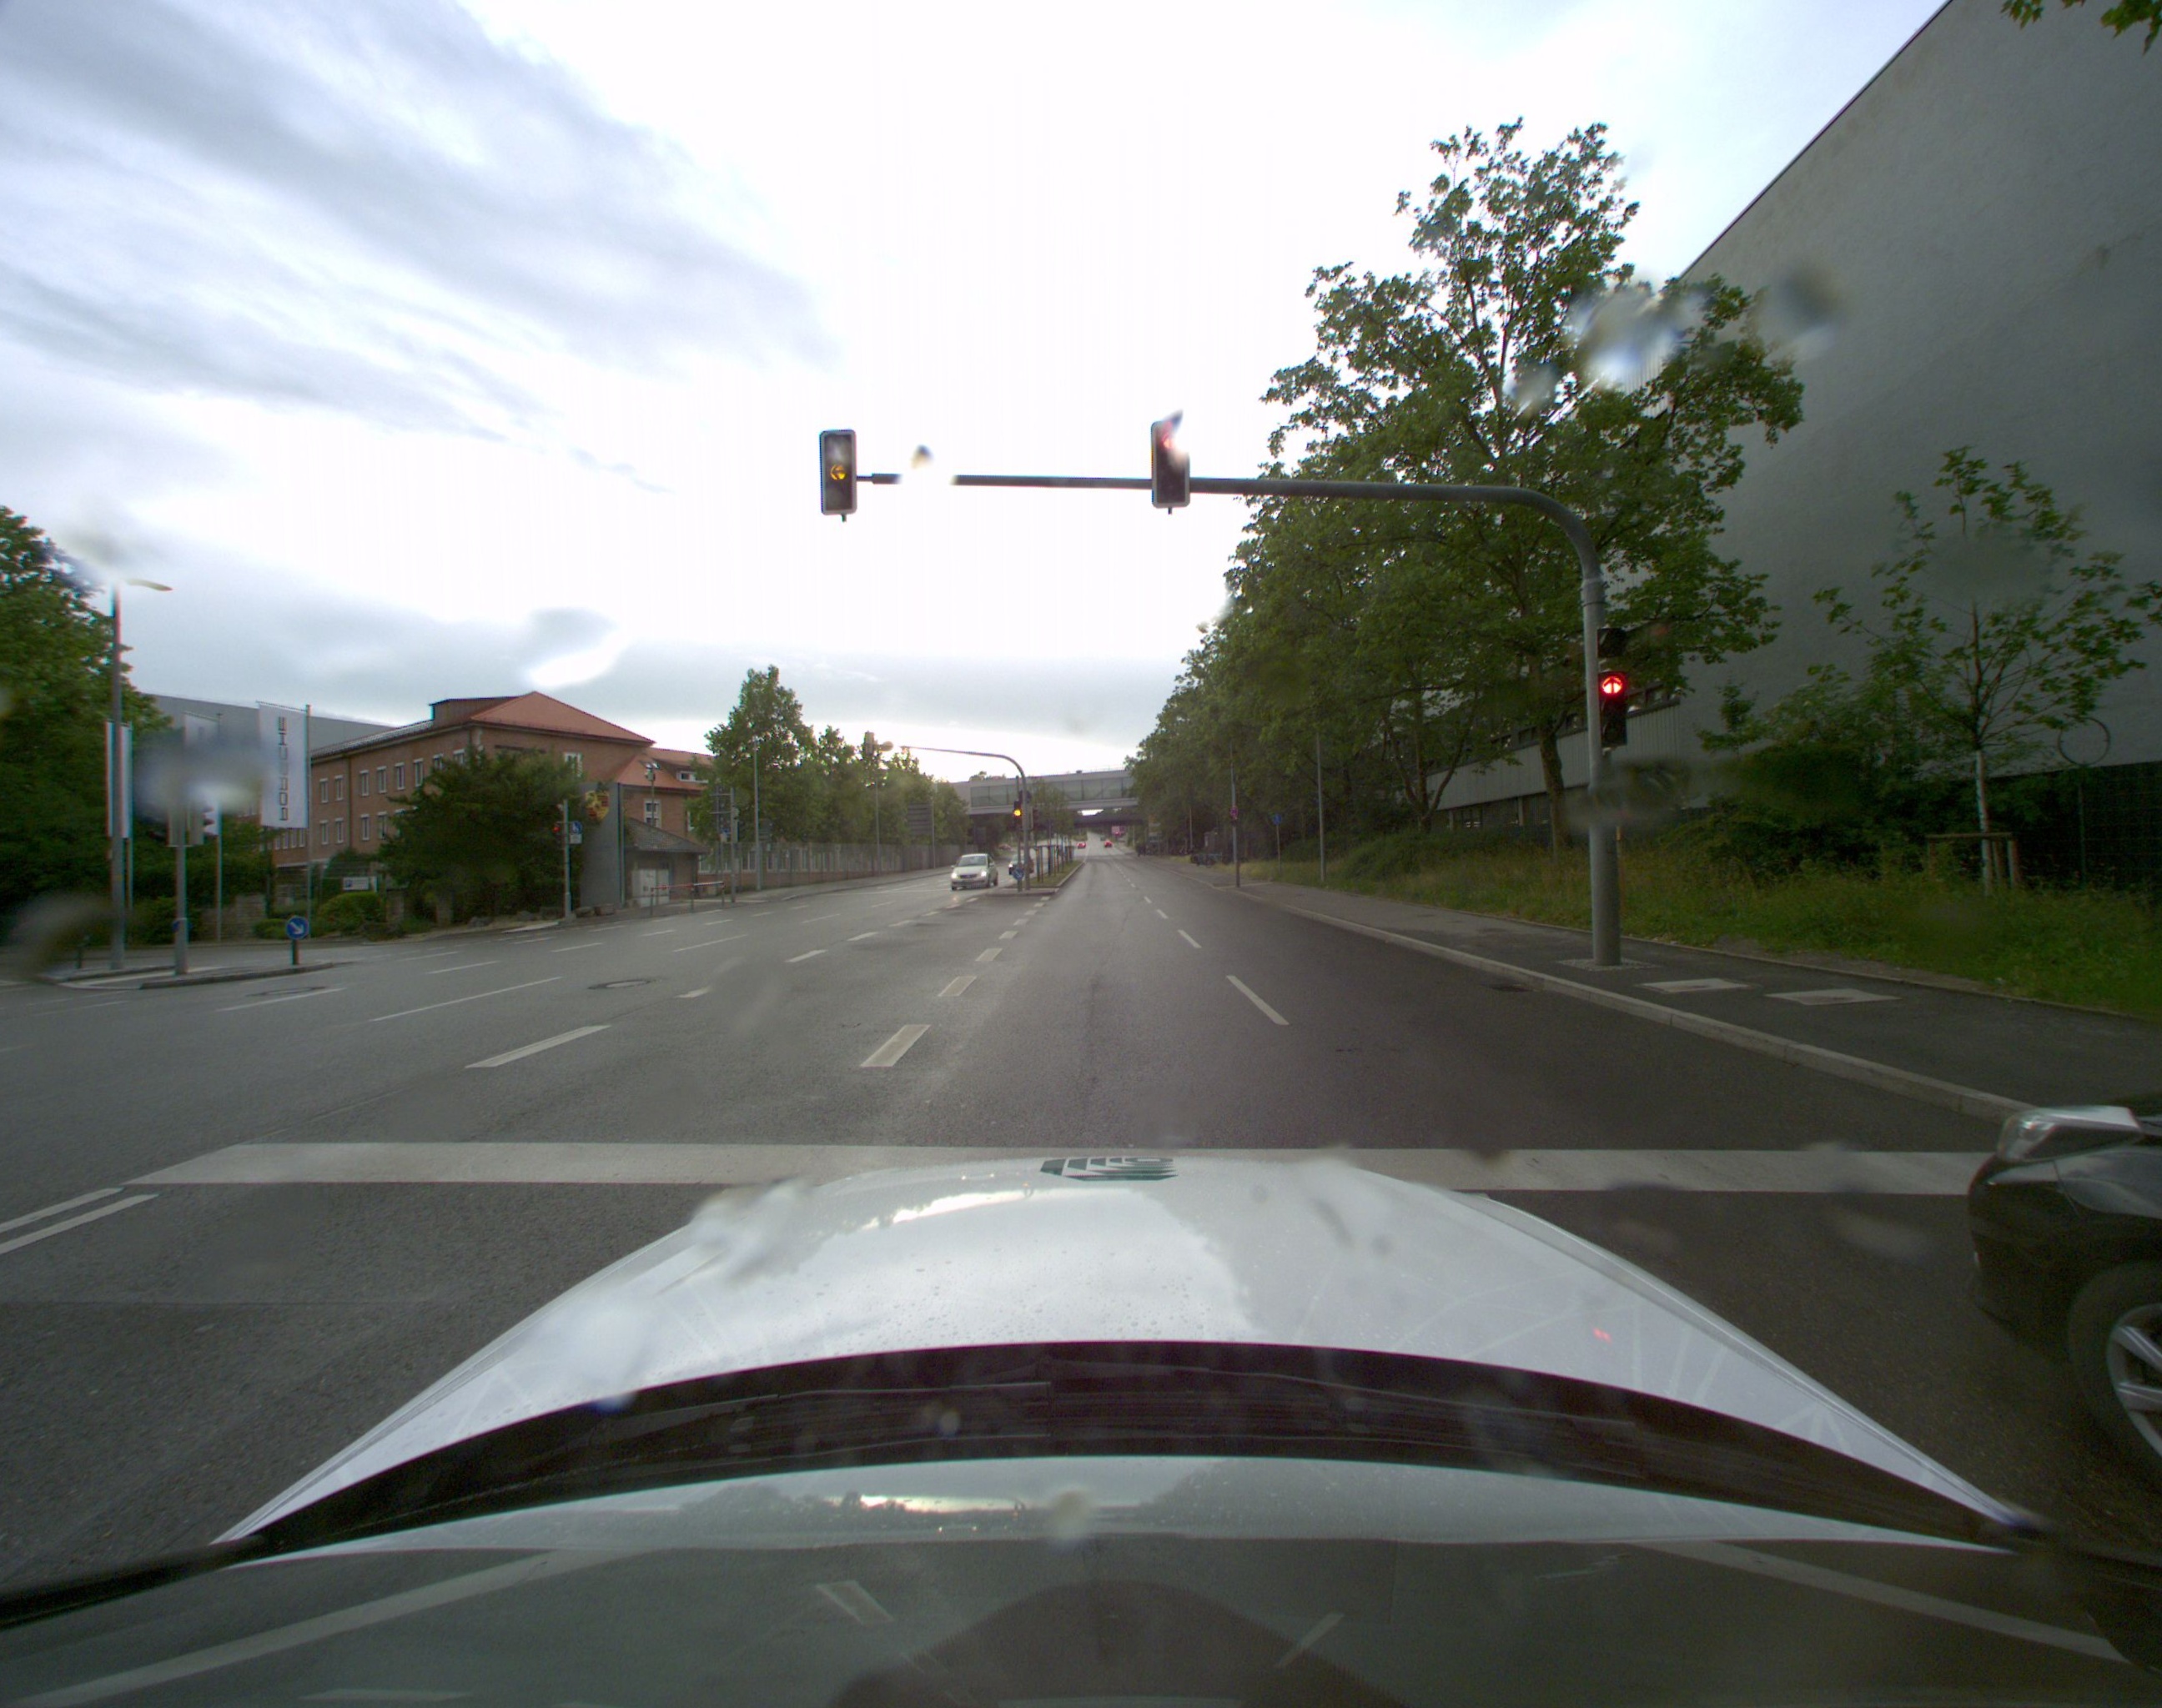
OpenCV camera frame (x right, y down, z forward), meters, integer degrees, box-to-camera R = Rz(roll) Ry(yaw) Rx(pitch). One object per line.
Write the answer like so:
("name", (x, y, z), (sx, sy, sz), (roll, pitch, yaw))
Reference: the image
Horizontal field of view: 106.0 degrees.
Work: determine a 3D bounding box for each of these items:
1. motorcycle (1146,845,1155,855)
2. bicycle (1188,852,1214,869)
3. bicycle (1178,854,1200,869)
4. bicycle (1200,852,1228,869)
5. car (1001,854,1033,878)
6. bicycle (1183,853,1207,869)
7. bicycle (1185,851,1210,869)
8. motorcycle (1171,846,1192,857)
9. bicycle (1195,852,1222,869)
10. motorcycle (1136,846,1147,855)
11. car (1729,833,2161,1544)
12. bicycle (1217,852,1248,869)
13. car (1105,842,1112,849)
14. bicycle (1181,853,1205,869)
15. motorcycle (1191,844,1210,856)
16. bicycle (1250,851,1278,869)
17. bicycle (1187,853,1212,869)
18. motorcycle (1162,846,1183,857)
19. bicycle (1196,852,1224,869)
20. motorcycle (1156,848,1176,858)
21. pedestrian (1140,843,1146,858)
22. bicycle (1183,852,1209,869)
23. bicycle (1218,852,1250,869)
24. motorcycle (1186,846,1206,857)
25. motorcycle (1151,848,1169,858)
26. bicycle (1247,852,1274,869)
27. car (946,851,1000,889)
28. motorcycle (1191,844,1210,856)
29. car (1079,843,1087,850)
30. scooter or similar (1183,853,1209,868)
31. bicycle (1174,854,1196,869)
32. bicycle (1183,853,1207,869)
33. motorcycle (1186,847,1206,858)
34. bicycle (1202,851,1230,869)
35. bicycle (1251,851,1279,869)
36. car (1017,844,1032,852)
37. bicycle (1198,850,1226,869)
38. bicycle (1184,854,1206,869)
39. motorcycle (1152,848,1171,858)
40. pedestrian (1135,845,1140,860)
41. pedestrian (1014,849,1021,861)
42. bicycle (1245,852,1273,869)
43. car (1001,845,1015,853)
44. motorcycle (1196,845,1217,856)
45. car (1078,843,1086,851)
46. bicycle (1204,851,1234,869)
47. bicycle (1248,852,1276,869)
("motorcycle", (10.425, -0.601, 121.969), (0.789, 1.311, 2.371), (-3, 0, -7))
("bicycle", (9.593, 0.515, 65.002), (1.982, 1.328, 0.576), (0, -1, 2))
("bicycle", (9.849, 0.655, 74.300), (1.955, 1.328, 0.654), (0, -1, 2))
("bicycle", (9.672, 0.454, 59.251), (1.982, 1.242, 0.541), (0, -1, 2))
("car", (-4.701, 0.875, 60.256), (1.870, 1.624, 3.780), (-2, 0, 2))
("bicycle", (9.826, 0.590, 70.288), (1.953, 1.328, 0.576), (0, -1, 2))
("bicycle", (9.621, 0.492, 67.490), (1.982, 1.430, 0.723), (0, -1, 2))
("motorcycle", (11.976, -0.272, 96.707), (2.354, 1.202, 0.724), (-3, 0, 9))
("bicycle", (9.643, 0.493, 61.719), (1.982, 1.242, 0.541), (0, -1, 2))
("motorcycle", (9.347, -0.521, 125.389), (0.792, 1.311, 2.363), (-3, 0, -16))
("car", (3.273, 0.699, 0.814), (1.871, 1.494, 4.073), (-3, 0, -2))
("bicycle", (10.104, 0.451, 54.336), (1.982, 1.095, 0.541), (0, -1, 2))
("car", (6.832, -2.136, 203.184), (1.868, 1.497, 4.070), (0, -1, 2))
("bicycle", (9.762, 0.601, 70.980), (1.955, 1.328, 0.654), (0, -1, 2))
("motorcycle", (15.857, -0.502, 108.100), (2.354, 1.476, 0.724), (-3, 0, 9))
("bicycle", (13.718, 0.481, 61.006), (1.982, 1.328, 0.576), (0, -1, 2))
("bicycle", (9.949, 0.559, 68.335), (1.982, 1.328, 0.576), (0, -1, 2))
("motorcycle", (10.724, -0.266, 95.261), (2.354, 1.202, 0.724), (-3, 0, 9))
("bicycle", (9.617, 0.478, 60.770), (1.982, 1.242, 0.541), (0, -1, 2))
("motorcycle", (10.606, -0.104, 101.481), (2.354, 1.202, 0.724), (-3, 0, 9))
("pedestrian", (8.533, -0.524, 112.223), (0.619, 2.013, 0.606), (-3, 0, 2))
("bicycle", (9.297, 0.526, 65.819), (1.982, 1.328, 0.576), (0, -1, 2))
("bicycle", (10.085, 0.442, 53.767), (1.982, 1.095, 0.541), (0, -1, 2))
("motorcycle", (14.149, -0.298, 100.097), (2.354, 1.202, 0.724), (-3, 0, 9))
("motorcycle", (10.488, -0.192, 107.948), (2.354, 1.202, 0.795), (-3, 0, 9))
("bicycle", (13.746, 0.504, 62.435), (1.982, 1.328, 0.576), (0, -1, 2))
("car", (-5.010, 0.695, 38.317), (1.870, 1.624, 3.780), (-2, 0, 2))
("motorcycle", (15.713, -0.478, 106.867), (2.354, 1.476, 0.724), (-3, 0, 9))
("car", (0.540, -2.008, 211.468), (1.877, 1.762, 3.970), (0, -1, 2))
("scooter or similar", (9.022, 0.499, 63.902), (1.982, 1.138, 0.541), (0, -1, 2))
("bicycle", (9.395, 0.639, 73.506), (1.955, 1.328, 0.654), (0, -1, 2))
("bicycle", (9.646, 0.581, 69.054), (1.982, 1.328, 0.576), (0, -1, 2))
("motorcycle", (14.275, -0.222, 100.971), (2.354, 1.202, 0.724), (-3, 0, 9))
("bicycle", (9.608, 0.437, 57.999), (1.982, 1.233, 0.541), (0, -1, 2))
("bicycle", (13.485, 0.458, 59.682), (1.982, 1.328, 0.576), (0, -1, 2))
("car", (-15.113, -1.671, 217.748), (3.949, 2.014, 2.012), (0, -1, 40))
("bicycle", (9.689, 0.401, 60.077), (1.982, 1.340, 0.541), (0, -1, 2))
("bicycle", (10.620, 0.685, 75.784), (1.955, 1.328, 0.654), (0, -1, 2))
("motorcycle", (10.552, -0.082, 106.628), (2.354, 1.202, 0.724), (-3, 0, 9))
("pedestrian", (7.773, -0.165, 112.418), (0.619, 2.013, 0.606), (-3, 0, 2))
("pedestrian", (-10.660, 0.116, 136.485), (0.868, 2.004, 0.856), (-3, 0, 4))
("bicycle", (13.781, 0.515, 63.082), (1.982, 1.328, 0.576), (0, -1, 2))
("car", (-20.057, -1.432, 224.035), (2.011, 2.014, 3.952), (1, -1, -42))
("motorcycle", (15.234, -0.375, 98.766), (2.354, 1.202, 0.724), (-3, 0, 9))
("car", (0.230, -1.812, 206.855), (1.986, 1.762, 4.002), (0, -1, 2))
("bicycle", (9.471, 0.409, 55.812), (1.982, 1.216, 0.541), (0, -1, 2))
("bicycle", (13.724, 0.493, 61.770), (1.982, 1.328, 0.576), (0, -1, 2))
